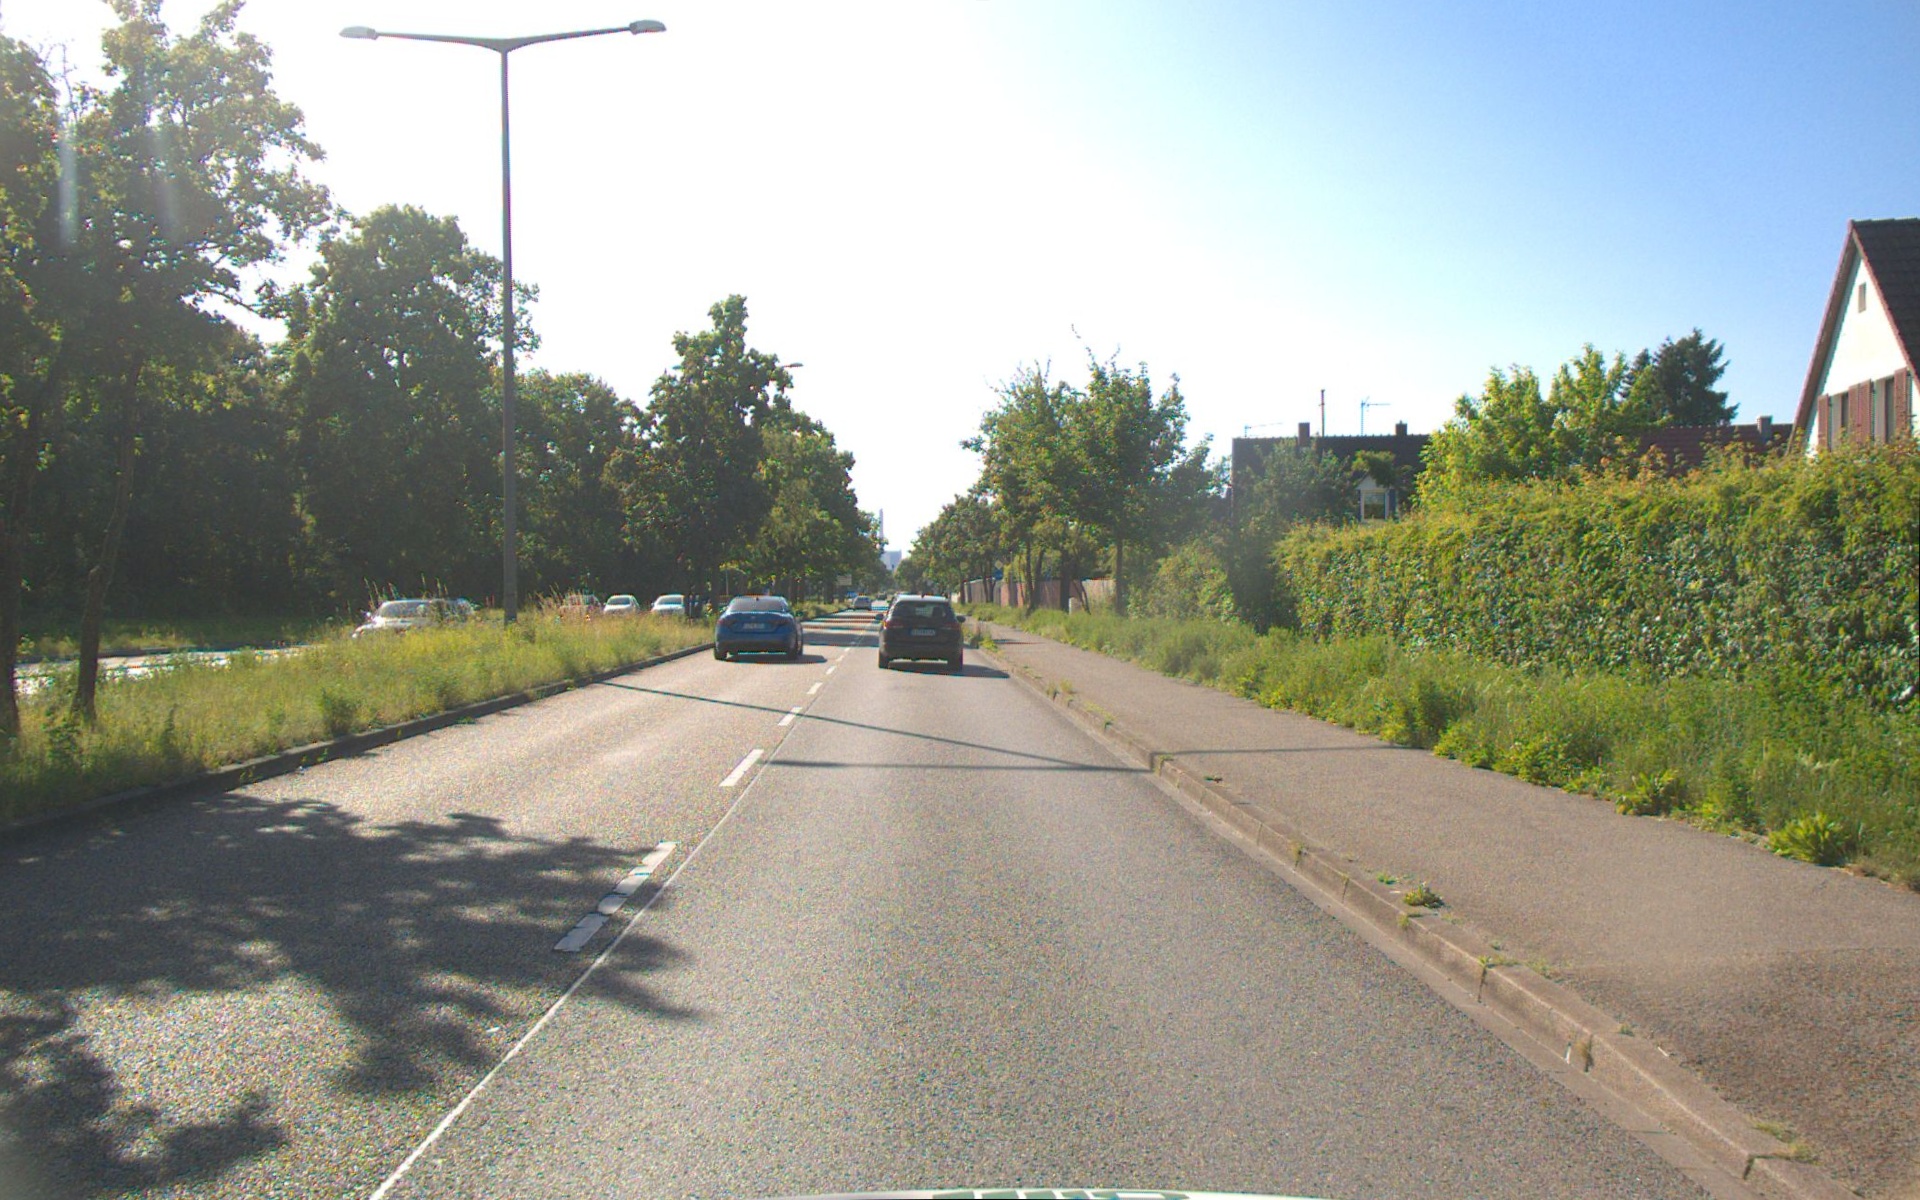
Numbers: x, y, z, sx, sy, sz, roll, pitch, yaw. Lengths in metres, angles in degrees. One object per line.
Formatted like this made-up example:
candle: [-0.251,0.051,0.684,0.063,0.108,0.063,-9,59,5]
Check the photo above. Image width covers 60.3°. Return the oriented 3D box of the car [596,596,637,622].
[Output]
car: [-19.914,0.495,96.075,1.802,1.437,3.997,0,0,-4]

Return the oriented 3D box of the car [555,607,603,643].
car: [-18.636,1.188,80.997,1.572,1.590,3.997,-2,1,-4]

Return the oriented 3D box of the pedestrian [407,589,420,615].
pedestrian: [-31.127,0.104,94.220,0.533,1.485,0.595,0,0,-3]

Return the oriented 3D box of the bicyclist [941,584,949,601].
bicyclist: [-1.306,-0.631,143.139,0.666,1.443,0.812,0,0,-3]

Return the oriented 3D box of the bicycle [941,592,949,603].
bicycle: [-1.262,-0.197,142.996,0.642,0.908,1.874,0,0,-2]

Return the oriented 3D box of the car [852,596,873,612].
car: [-9.716,0.361,164.879,1.940,1.465,3.995,0,1,-6]

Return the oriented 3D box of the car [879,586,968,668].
car: [-0.770,0.533,34.723,1.725,1.586,3.999,2,0,-1]

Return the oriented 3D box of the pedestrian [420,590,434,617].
pedestrian: [-30.365,0.200,94.288,0.533,1.485,0.917,0,0,-3]

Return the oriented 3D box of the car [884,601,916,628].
car: [-3.905,0.949,106.835,1.711,1.625,4.169,0,1,-7]

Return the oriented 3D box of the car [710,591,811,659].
car: [-4.559,0.537,38.275,1.954,1.429,3.999,-1,1,-2]

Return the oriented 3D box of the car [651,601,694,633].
car: [-15.202,0.856,87.681,1.679,1.630,4.356,0,0,-2]

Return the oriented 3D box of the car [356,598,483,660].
car: [-13.313,0.672,41.028,1.746,1.385,4.976,0,0,-3]
